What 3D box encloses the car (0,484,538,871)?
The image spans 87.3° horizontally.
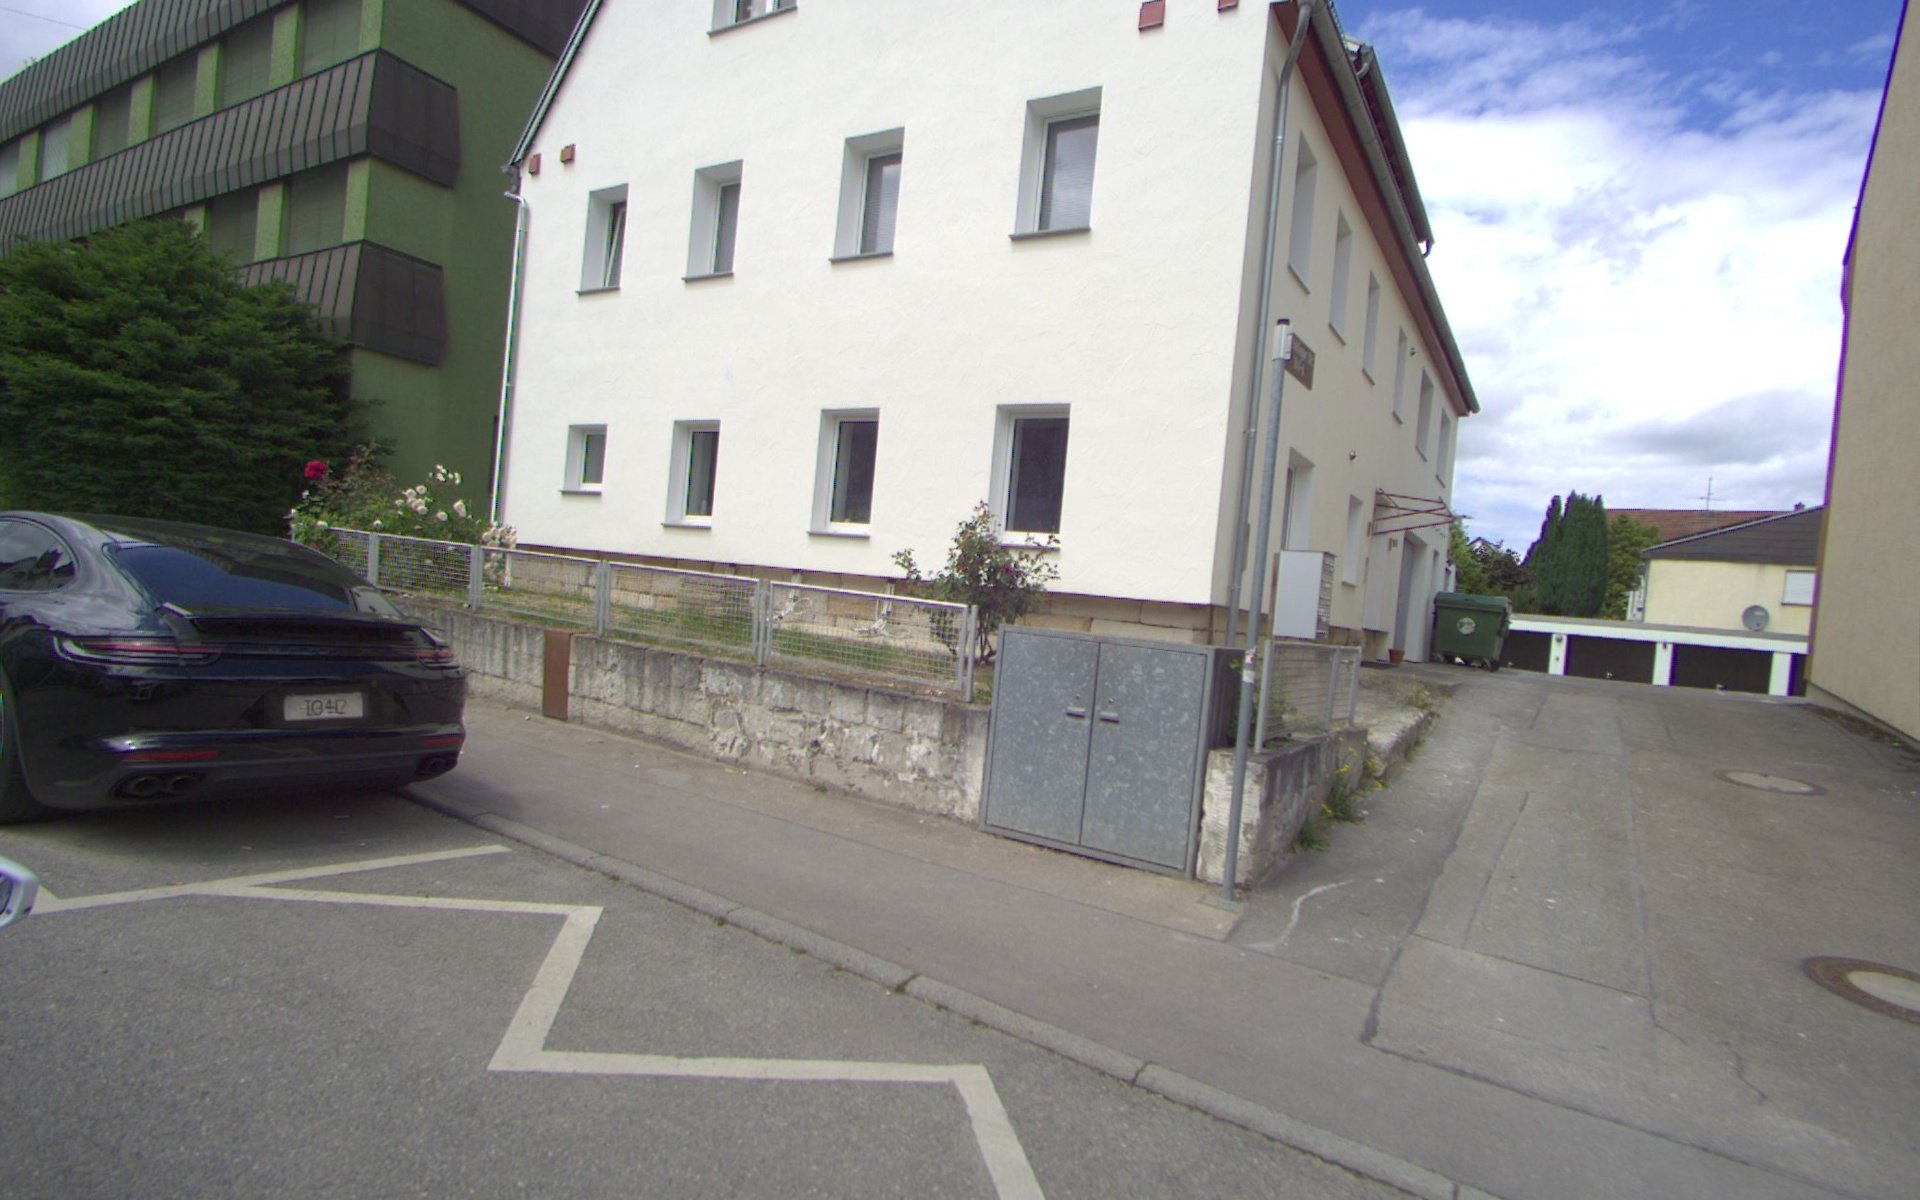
[{"bbox_3d":[-4.866,0.161,5.933,4.673,1.466,1.985,6,0,32],"label":"car"}]

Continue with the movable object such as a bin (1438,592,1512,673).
[{"bbox_3d":[10.075,0.644,19.660,1.097,1.402,1.263,6,-1,31],"label":"movable object such as a bin"}]

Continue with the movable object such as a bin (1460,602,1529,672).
[{"bbox_3d":[11.301,0.789,21.255,1.097,1.302,1.263,6,-1,31],"label":"movable object such as a bin"}]
